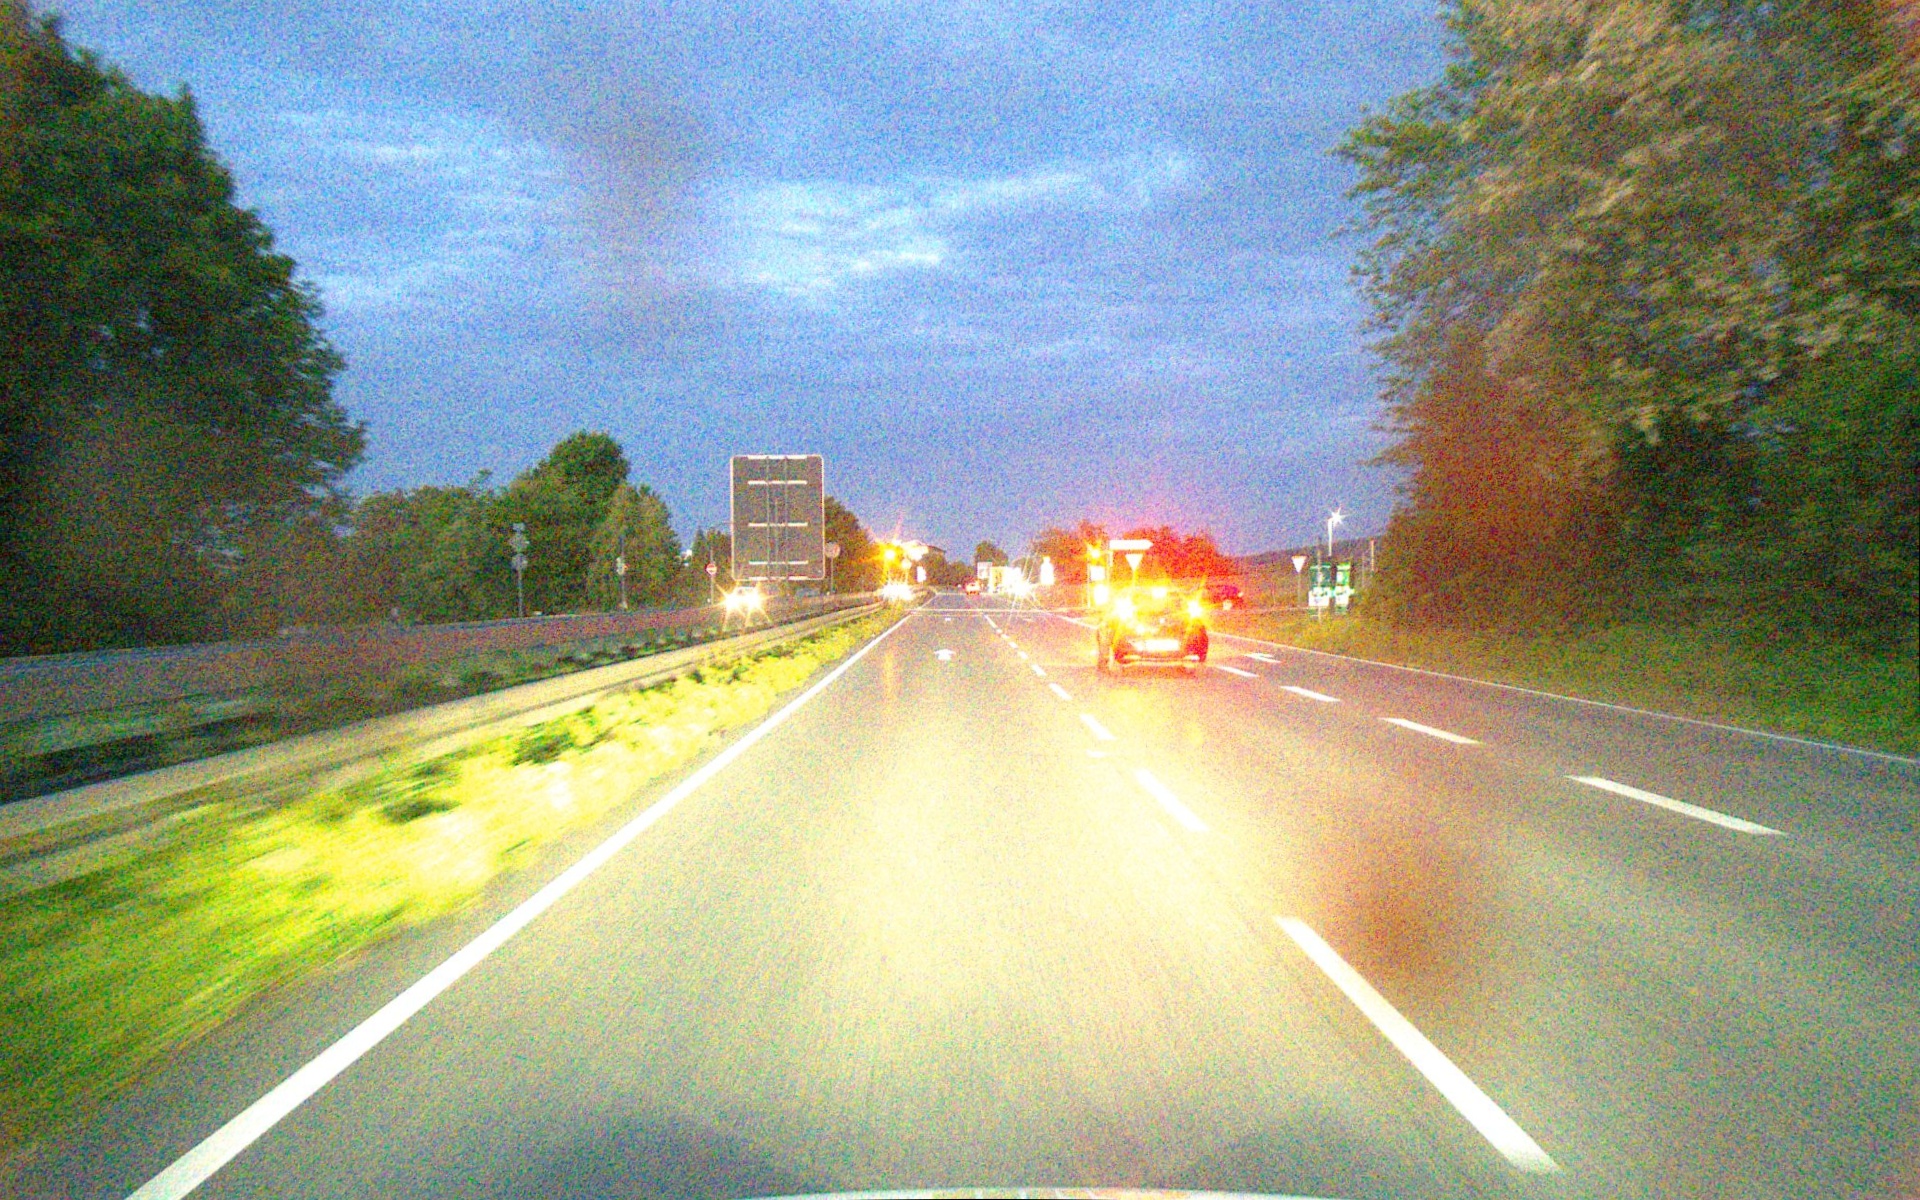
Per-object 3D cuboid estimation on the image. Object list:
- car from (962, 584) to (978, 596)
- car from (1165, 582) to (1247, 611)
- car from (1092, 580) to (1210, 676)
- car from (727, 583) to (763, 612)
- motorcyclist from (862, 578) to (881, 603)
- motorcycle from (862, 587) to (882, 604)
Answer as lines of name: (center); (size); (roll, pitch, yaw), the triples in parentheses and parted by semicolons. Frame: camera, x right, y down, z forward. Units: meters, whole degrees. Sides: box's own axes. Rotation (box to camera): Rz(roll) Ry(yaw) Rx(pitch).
car: (1.421, -1.428, 233.747); (2.228, 1.660, 3.999); (0, 0, -1)
car: (14.331, -0.217, 96.497); (4.507, 1.547, 2.000); (-2, 0, 0)
car: (3.283, 0.437, 29.015); (1.636, 1.547, 4.106); (0, 0, 1)
car: (-13.095, -0.152, 100.875); (1.758, 1.700, 4.500); (0, 0, -2)
motorcyclist: (-6.026, -0.655, 112.517); (1.113, 1.612, 0.973); (-1, 0, 6)
motorcycle: (-6.017, -0.300, 112.673); (0.958, 1.118, 2.510); (-1, 1, 6)
